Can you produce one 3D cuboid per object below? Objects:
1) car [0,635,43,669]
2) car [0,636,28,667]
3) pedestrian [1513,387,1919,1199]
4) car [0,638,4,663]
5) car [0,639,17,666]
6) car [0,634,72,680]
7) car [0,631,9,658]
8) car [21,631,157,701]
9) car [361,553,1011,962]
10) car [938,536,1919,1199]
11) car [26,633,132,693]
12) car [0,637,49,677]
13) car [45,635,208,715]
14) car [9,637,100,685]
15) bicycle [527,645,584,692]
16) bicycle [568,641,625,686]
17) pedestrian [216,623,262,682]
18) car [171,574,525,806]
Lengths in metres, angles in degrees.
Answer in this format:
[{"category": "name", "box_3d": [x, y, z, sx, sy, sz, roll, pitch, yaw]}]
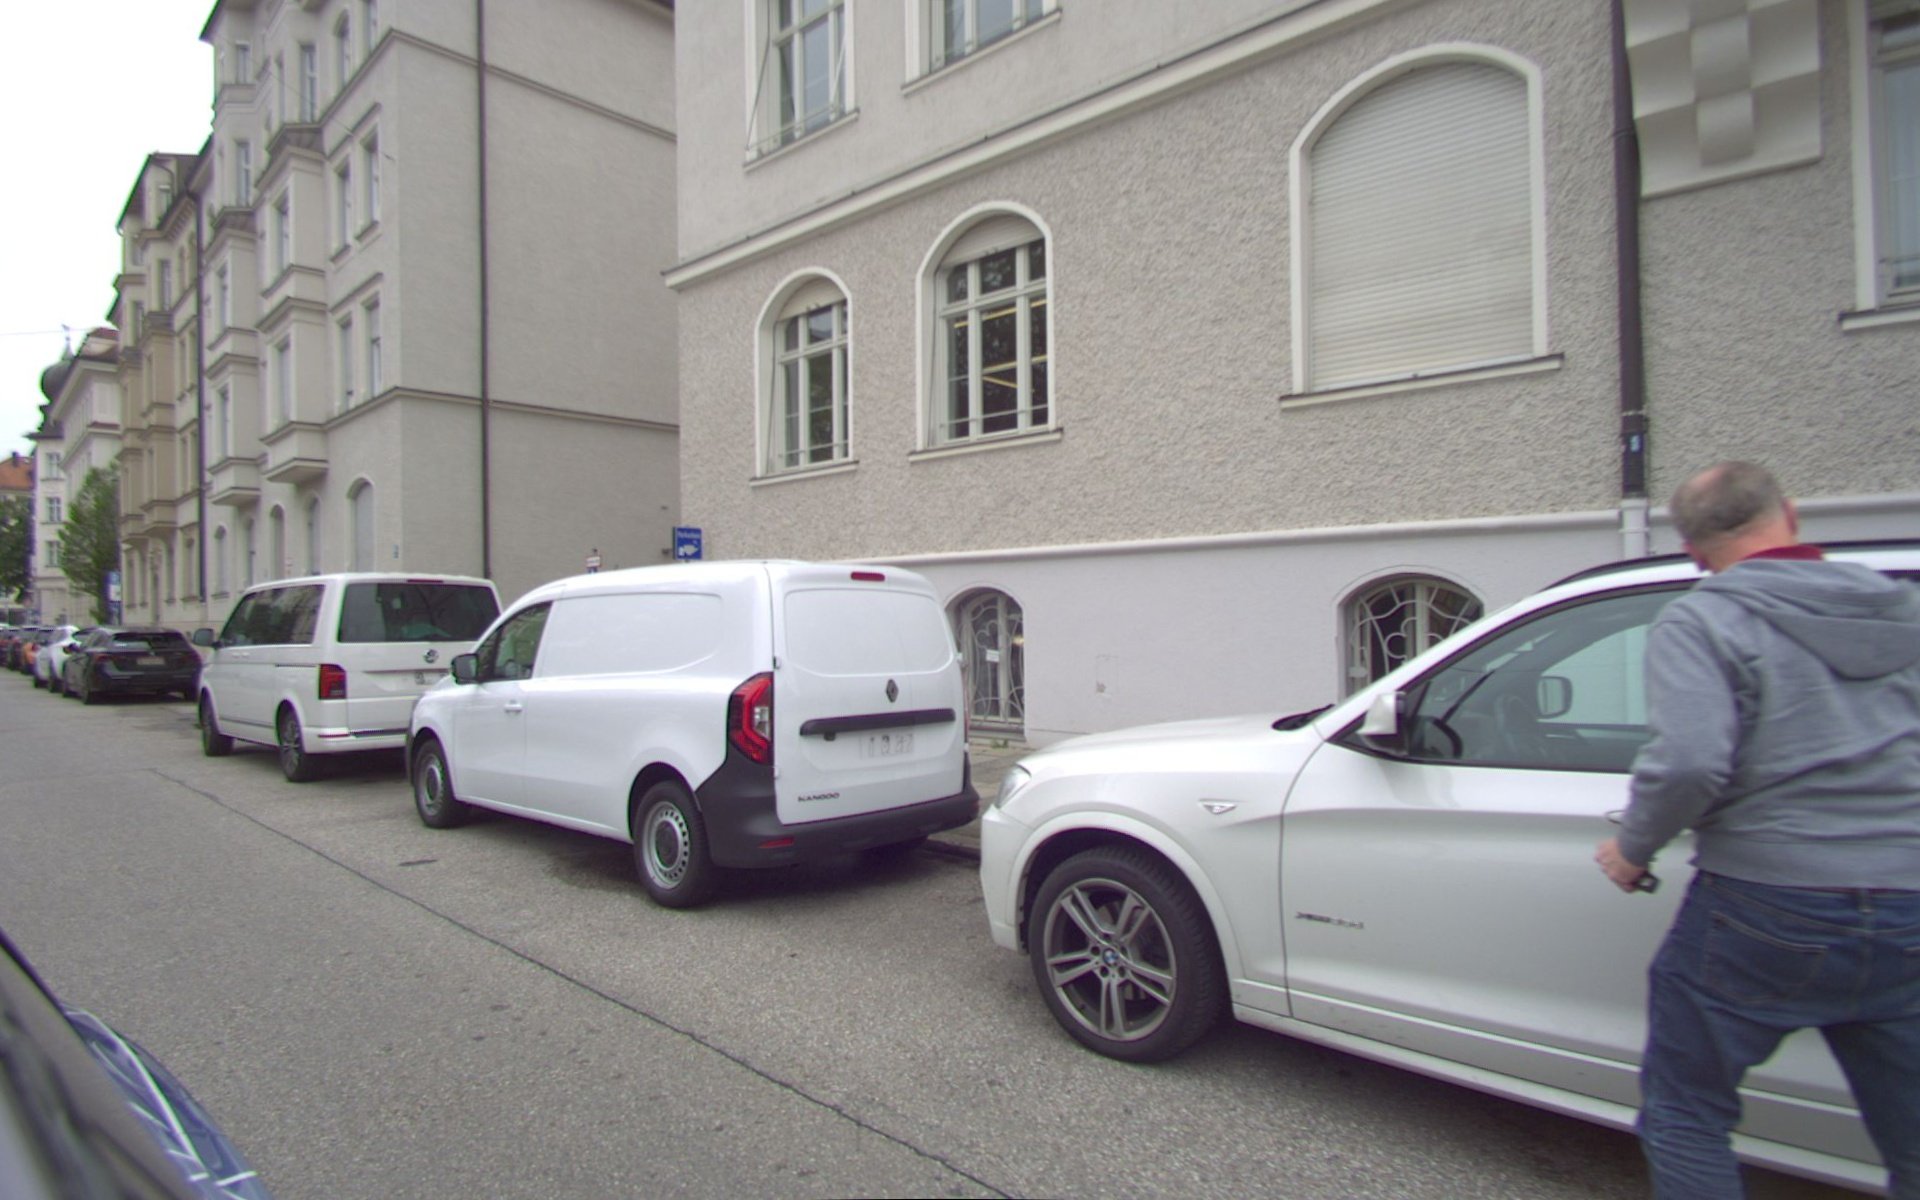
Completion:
[{"category": "car", "box_3d": [-42.407, 2.301, 45.281, 3.688, 1.440, 1.605, -2, -3, 42]}, {"category": "car", "box_3d": [-45.821, 2.433, 48.268, 3.688, 1.440, 1.605, -2, -3, 42]}, {"category": "pedestrian", "box_3d": [1.656, 0.583, 1.844, 0.868, 1.769, 0.960, -1, -1, 14]}, {"category": "car", "box_3d": [-60.617, 3.106, 62.817, 3.920, 1.542, 1.605, -2, -3, 43]}, {"category": "car", "box_3d": [-53.176, 2.887, 55.804, 1.604, 1.440, 3.691, 2, -3, -45]}, {"category": "car", "box_3d": [-31.245, 1.892, 34.164, 3.942, 1.467, 1.604, -2, -3, 44]}, {"category": "car", "box_3d": [-56.740, 2.613, 59.013, 3.690, 1.542, 1.605, -2, -3, 43]}, {"category": "car", "box_3d": [-20.332, 1.485, 23.577, 4.378, 1.475, 1.836, -2, -3, 42]}, {"category": "car", "box_3d": [-2.158, 0.779, 6.803, 5.034, 1.802, 1.728, -2, -3, 41]}, {"category": "car", "box_3d": [2.177, 0.713, 2.932, 4.493, 1.614, 1.729, -2, -3, 41]}, {"category": "car", "box_3d": [-23.466, 1.618, 26.909, 3.939, 1.475, 1.785, -2, -3, 44]}, {"category": "car", "box_3d": [-35.424, 2.097, 37.970, 1.604, 1.440, 3.943, 2, -3, -45]}, {"category": "car", "box_3d": [-16.635, 1.428, 20.124, 4.378, 1.423, 1.836, -2, -4, 42]}, {"category": "car", "box_3d": [-27.609, 1.819, 30.840, 3.731, 1.373, 1.785, -2, -3, 44]}, {"category": "bicycle", "box_3d": [-9.073, 1.510, 22.679, 1.779, 0.992, 0.442, -2, -2, 42]}, {"category": "bicycle", "box_3d": [-8.403, 1.452, 23.343, 1.779, 0.992, 0.442, -2, -2, 42]}, {"category": "pedestrian", "box_3d": [-20.302, 1.461, 28.503, 1.052, 1.620, 0.864, -2, -2, 43]}, {"category": "car", "box_3d": [-6.755, 0.845, 10.904, 4.955, 1.953, 1.836, -2, -3, 41]}]
